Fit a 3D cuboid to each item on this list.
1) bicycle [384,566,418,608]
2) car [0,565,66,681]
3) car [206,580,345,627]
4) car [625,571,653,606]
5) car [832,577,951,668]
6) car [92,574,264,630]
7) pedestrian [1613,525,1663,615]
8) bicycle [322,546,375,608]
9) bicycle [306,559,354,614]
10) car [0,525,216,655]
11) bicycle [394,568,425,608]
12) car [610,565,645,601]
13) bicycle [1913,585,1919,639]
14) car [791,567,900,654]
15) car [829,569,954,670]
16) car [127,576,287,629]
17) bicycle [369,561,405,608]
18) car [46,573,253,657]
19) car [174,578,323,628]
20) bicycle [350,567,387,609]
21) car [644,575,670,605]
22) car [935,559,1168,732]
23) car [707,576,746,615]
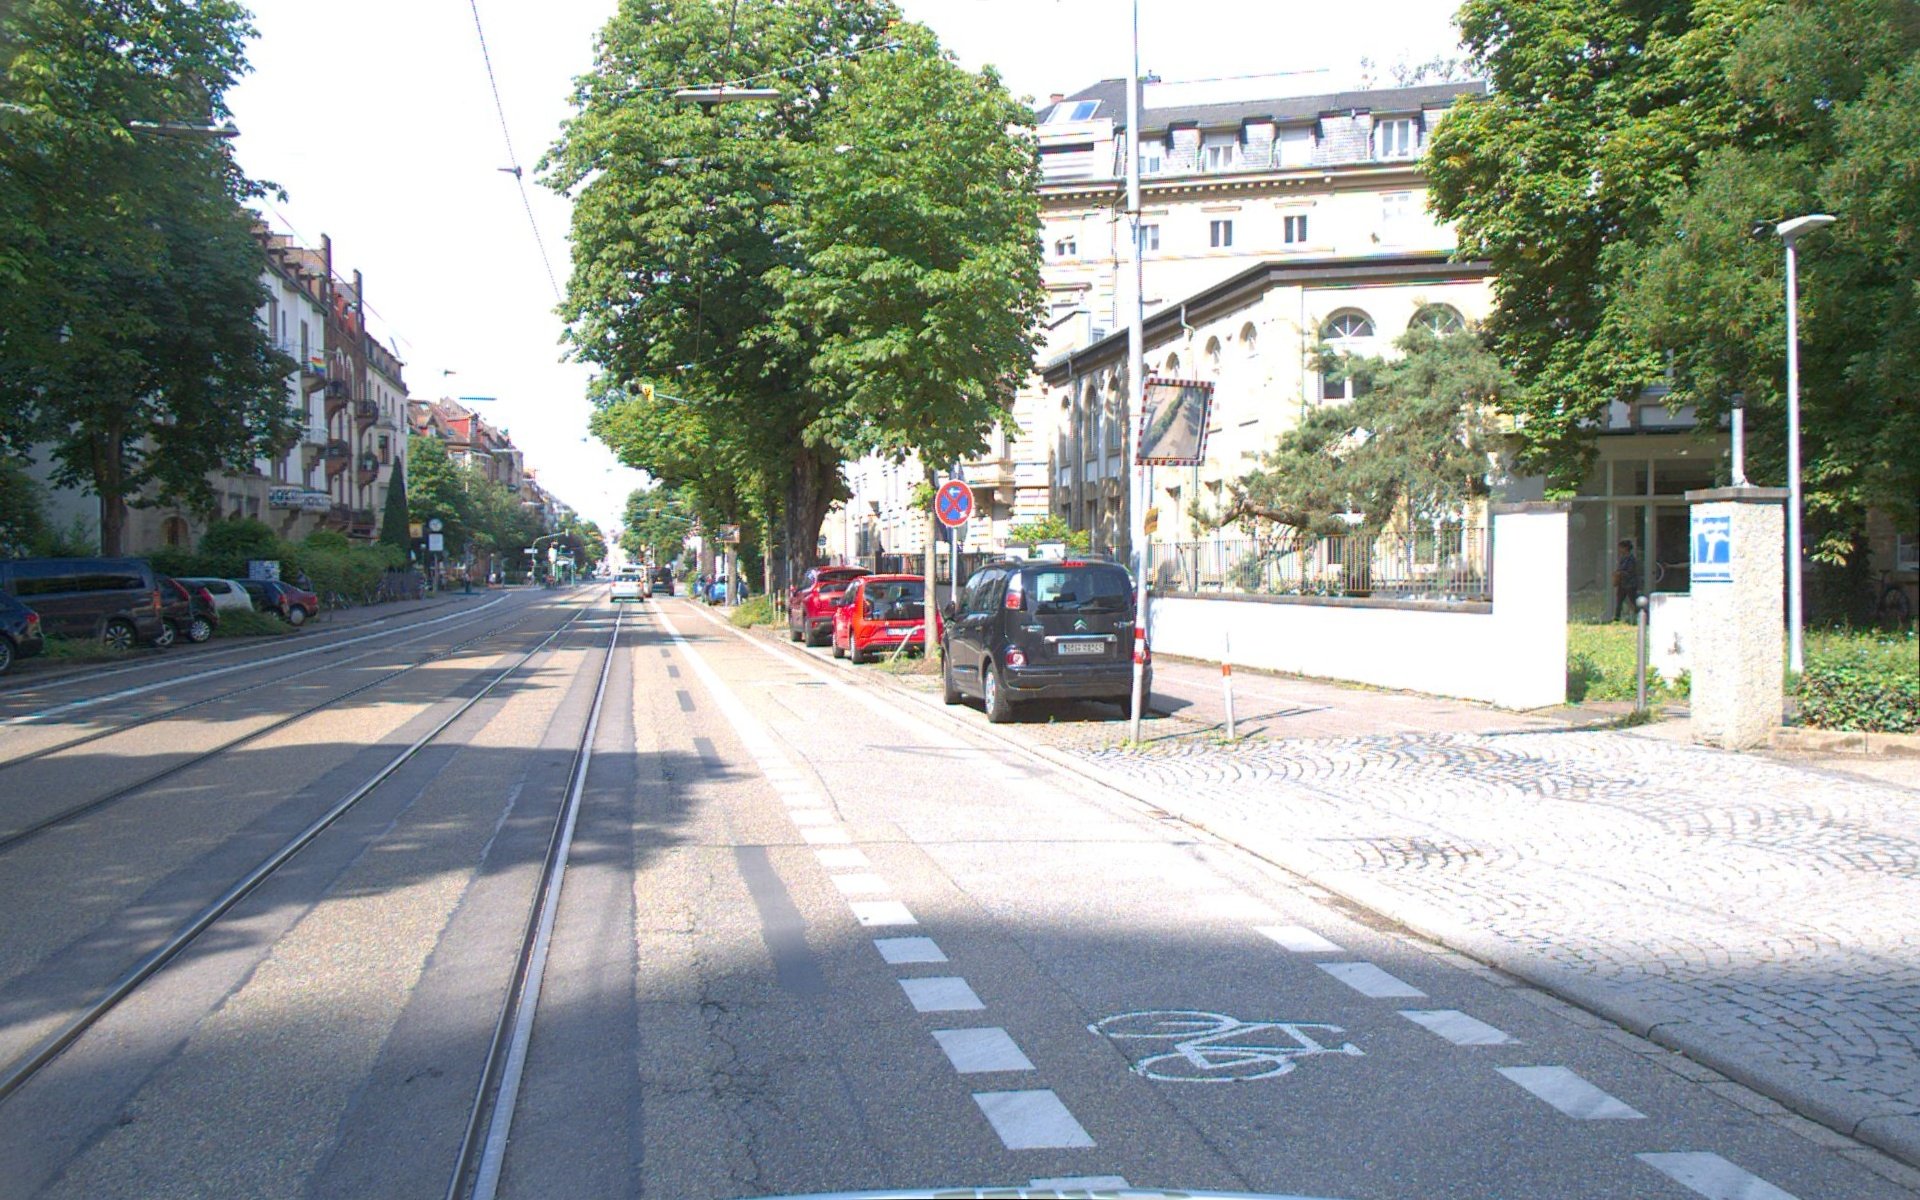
[{"bbox_3d":[-26.915,-0.603,79.680,0.920,1.952,2.496,2,-1,-6],"label":"bicycle"},{"bbox_3d":[-15.661,0.293,24.547,1.844,1.742,3.748,2,-1,33],"label":"car"},{"bbox_3d":[-21.782,0.120,52.705,1.608,1.329,3.767,1,-1,40],"label":"car"},{"bbox_3d":[-19.465,-0.702,100.331,1.592,2.035,3.554,2,-1,-11],"label":"car"},{"bbox_3d":[-1.268,0.376,29.377,1.637,1.512,3.270,0,0,-11],"label":"car"},{"bbox_3d":[-20.568,0.071,43.608,1.608,1.329,3.767,1,-1,40],"label":"car"},{"bbox_3d":[13.218,-0.572,32.254,0.754,1.707,0.809,2,-1,15],"label":"pedestrian"},{"bbox_3d":[-24.255,-0.884,65.706,0.920,2.359,3.995,2,-1,-5],"label":"bicycle"},{"bbox_3d":[-23.832,-0.504,62.626,0.920,2.005,2.736,2,-1,-6],"label":"bicycle"},{"bbox_3d":[-16.693,-0.177,31.440,1.844,2.117,4.192,4,-2,33],"label":"car"},{"bbox_3d":[-28.031,-0.597,84.248,0.920,1.952,2.496,2,-1,-6],"label":"bicycle"},{"bbox_3d":[-16.597,-0.824,82.541,1.592,1.713,3.555,2,-1,-11],"label":"car"},{"bbox_3d":[18.984,0.218,32.128,0.410,1.075,2.067,-2,-2,19],"label":"bicycle"},{"bbox_3d":[-2.566,0.229,36.165,1.924,1.736,3.990,2,-1,-10],"label":"car"},{"bbox_3d":[-1.270,0.291,29.181,1.644,1.639,3.574,-1,1,-12],"label":"car"},{"bbox_3d":[-21.141,0.077,46.531,1.608,1.329,3.767,1,-1,40],"label":"car"},{"bbox_3d":[-26.486,-0.700,76.513,0.920,2.115,2.496,2,-1,-6],"label":"bicycle"},{"bbox_3d":[-17.155,0.284,35.109,1.602,1.605,3.588,0,2,39],"label":"car"},{"bbox_3d":[-21.344,0.103,49.728,1.608,1.329,3.767,1,-1,40],"label":"car"},{"bbox_3d":[-25.510,-0.496,71.338,0.920,1.777,2.281,2,-1,-6],"label":"bicycle"},{"bbox_3d":[-20.503,-0.665,111.734,1.592,1.881,3.555,2,-1,-11],"label":"car"},{"bbox_3d":[0.872,0.404,17.794,1.644,1.639,3.574,-1,1,-12],"label":"car"},{"bbox_3d":[-10.922,-0.206,77.230,1.592,1.713,3.555,2,-1,-11],"label":"car"}]
